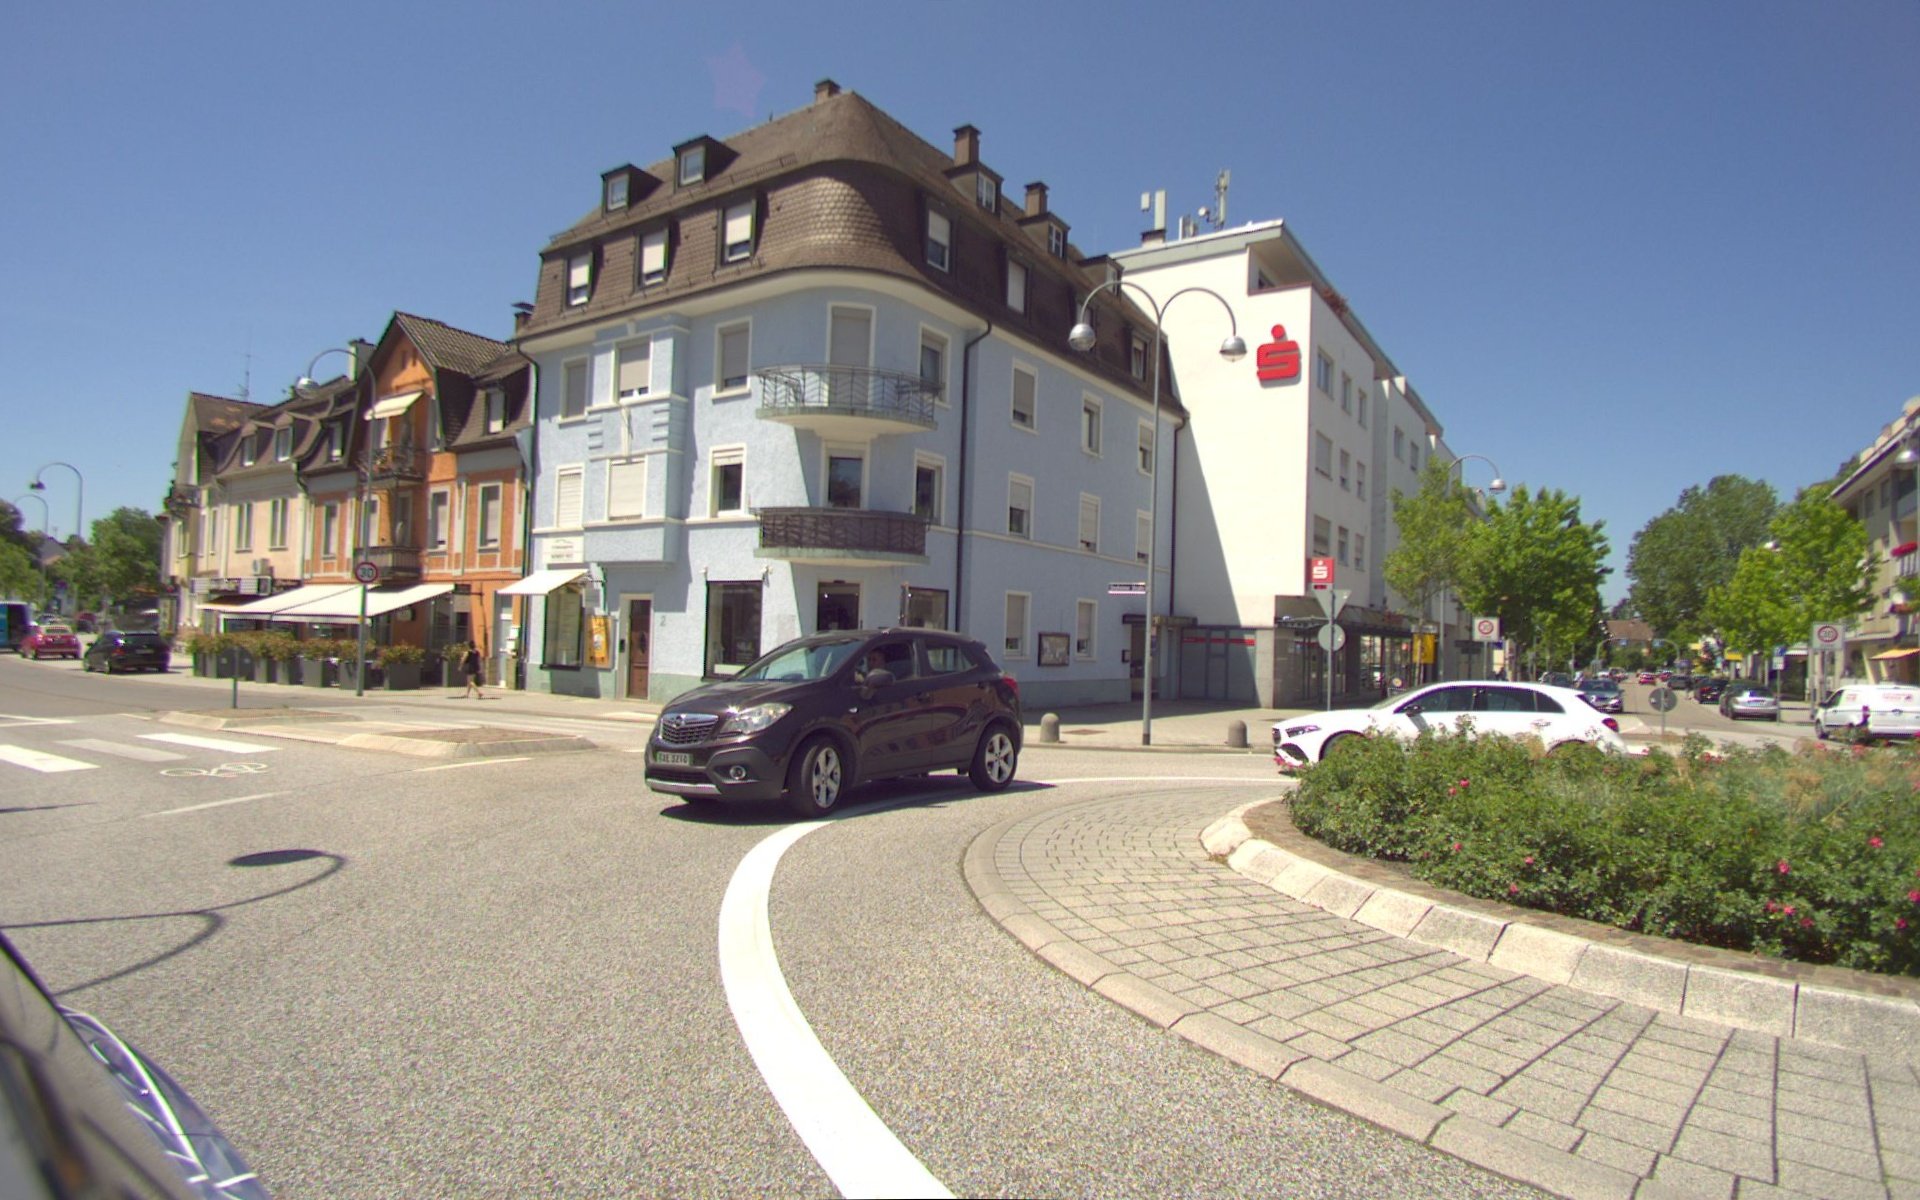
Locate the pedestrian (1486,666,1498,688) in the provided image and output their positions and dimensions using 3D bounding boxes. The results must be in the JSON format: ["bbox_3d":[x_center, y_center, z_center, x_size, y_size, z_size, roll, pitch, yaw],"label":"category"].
[{"bbox_3d":[42.483,6.146,80.841,0.652,1.693,0.628,-1,-2,17],"label":"pedestrian"}]

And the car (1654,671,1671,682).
[{"bbox_3d":[105.861,11.492,152.443,1.951,1.487,4.090,-2,-4,33],"label":"car"}]

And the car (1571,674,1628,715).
[{"bbox_3d":[28.224,4.093,44.591,1.995,1.605,4.941,0,-3,34],"label":"car"}]

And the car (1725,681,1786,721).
[{"bbox_3d":[34.046,4.307,43.404,1.743,1.562,3.897,-2,-5,34],"label":"car"}]

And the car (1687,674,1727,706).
[{"bbox_3d":[49.516,5.930,67.176,1.996,1.812,4.513,-2,-3,36],"label":"car"}]

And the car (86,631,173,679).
[{"bbox_3d":[-29.389,1.894,35.764,3.943,1.558,1.661,0,-2,40],"label":"car"}]

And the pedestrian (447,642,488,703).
[{"bbox_3d":[-12.735,1.856,26.175,0.801,1.536,0.621,-1,-1,34],"label":"pedestrian"}]

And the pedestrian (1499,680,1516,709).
[{"bbox_3d":[26.325,4.544,48.647,0.569,1.382,0.657,-2,-5,43],"label":"pedestrian"}]

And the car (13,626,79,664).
[{"bbox_3d":[-39.968,1.926,44.240,3.591,1.558,1.661,0,-2,40],"label":"car"}]

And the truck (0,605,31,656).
[{"bbox_3d":[-46.565,1.446,48.864,4.333,2.388,1.936,0,-2,40],"label":"truck"}]

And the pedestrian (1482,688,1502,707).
[{"bbox_3d":[26.213,4.793,49.860,0.667,0.865,0.722,-2,-8,43],"label":"pedestrian"}]

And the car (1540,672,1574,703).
[{"bbox_3d":[39.146,5.685,66.355,1.729,1.753,4.344,3,-1,32],"label":"car"}]

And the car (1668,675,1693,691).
[{"bbox_3d":[75.012,8.644,105.435,1.977,1.461,4.298,-2,-3,34],"label":"car"}]

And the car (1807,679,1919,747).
[{"bbox_3d":[26.084,3.178,28.958,1.742,1.737,3.879,-1,-4,23],"label":"car"}]

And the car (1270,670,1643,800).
[{"bbox_3d":[6.535,1.780,13.871,4.248,1.392,1.923,2,-5,15],"label":"car"}]

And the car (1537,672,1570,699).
[{"bbox_3d":[41.583,5.956,70.825,1.824,1.632,4.344,2,-2,32],"label":"car"}]

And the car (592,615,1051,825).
[{"bbox_3d":[-1.136,1.054,9.851,1.999,1.574,4.109,-2,-5,41],"label":"car"}]
